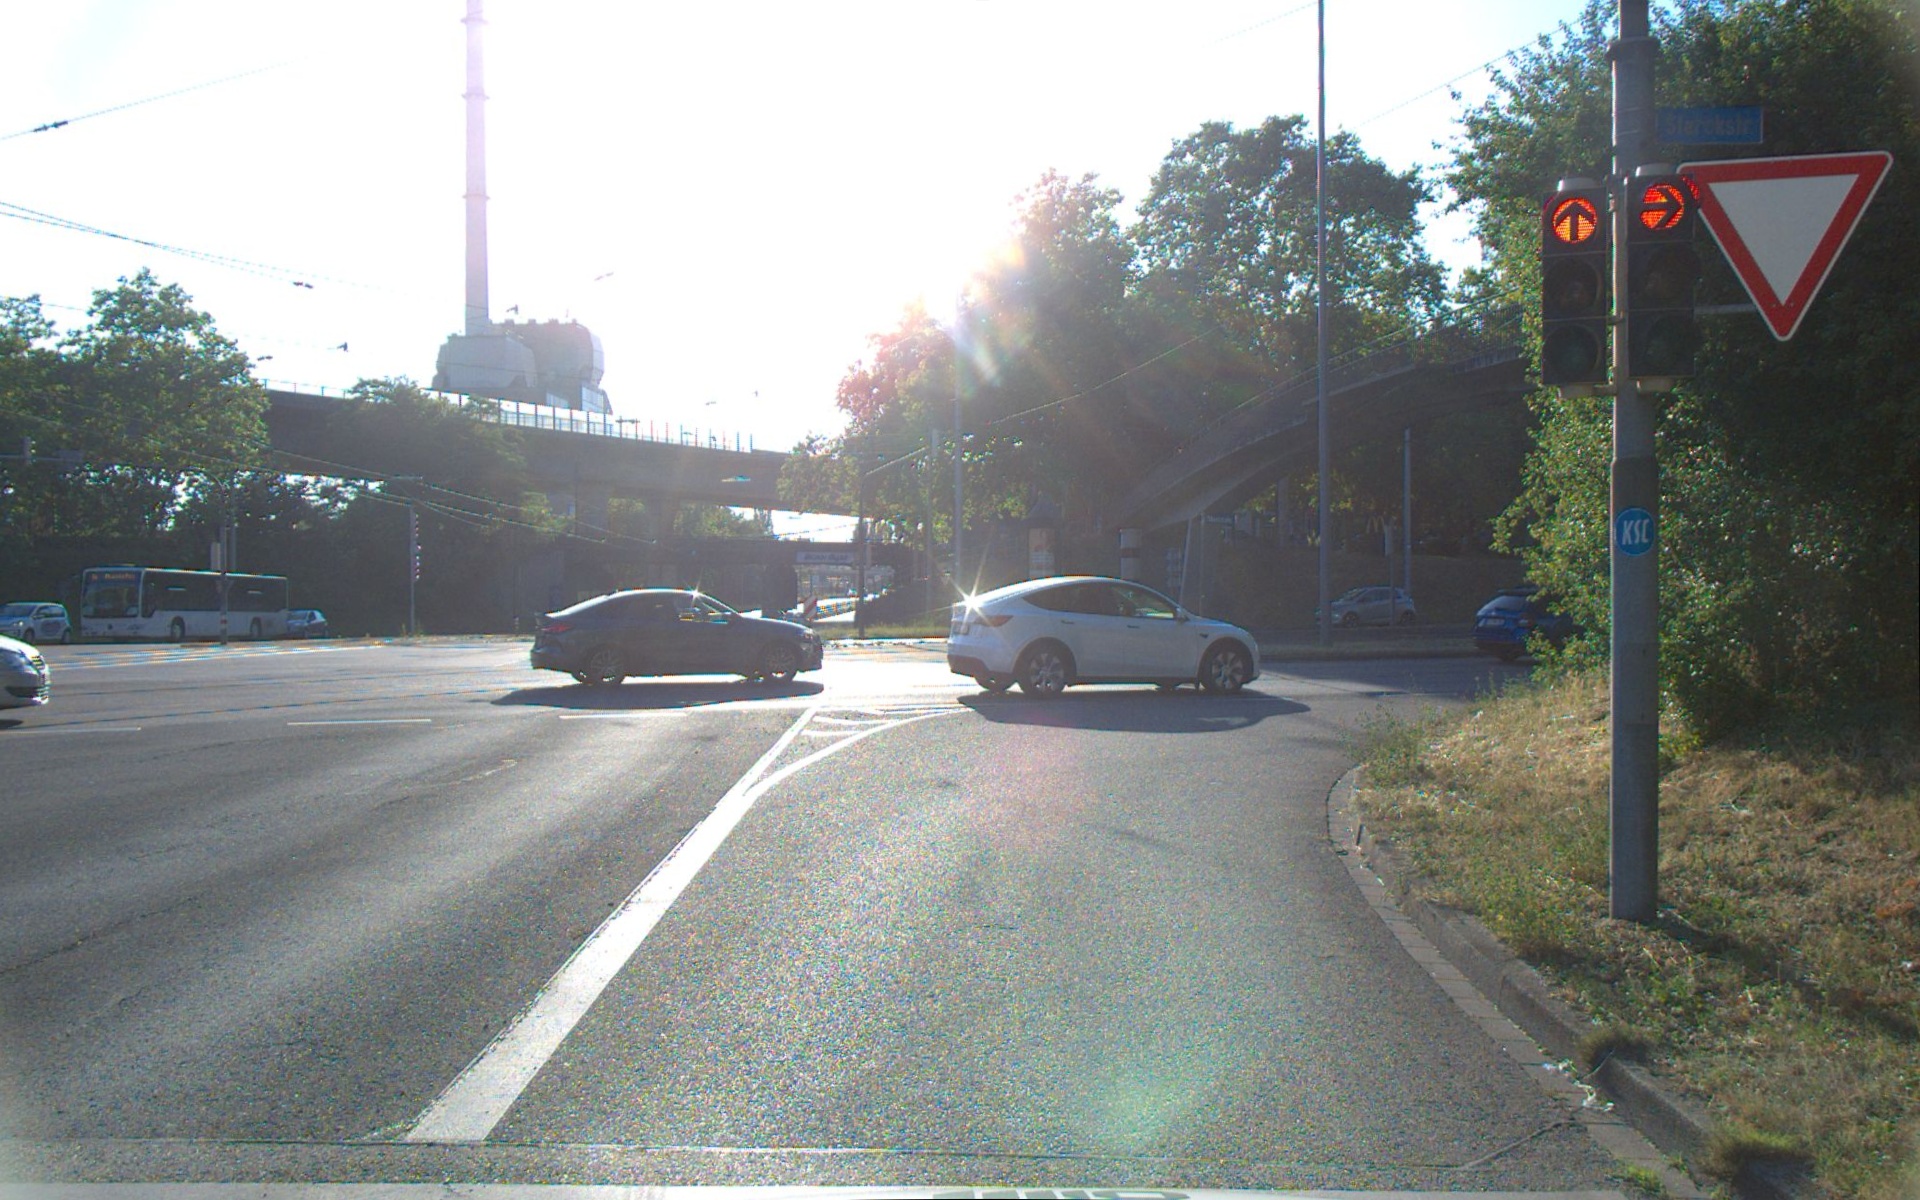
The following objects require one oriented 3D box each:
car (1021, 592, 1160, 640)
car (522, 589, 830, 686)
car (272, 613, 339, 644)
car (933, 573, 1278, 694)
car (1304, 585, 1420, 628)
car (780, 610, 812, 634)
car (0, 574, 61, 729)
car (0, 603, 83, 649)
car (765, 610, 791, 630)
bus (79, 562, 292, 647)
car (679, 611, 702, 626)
[{"bbox_3d":[4.520,0.552,57.274,4.505,1.602,1.685,1,0,-18],"label":"car"},{"bbox_3d":[-4.347,0.556,25.330,4.413,1.393,1.683,1,0,-21],"label":"car"},{"bbox_3d":[-31.700,1.372,80.244,1.573,1.444,4.008,1,0,1],"label":"car"},{"bbox_3d":[2.085,0.465,23.584,4.685,1.602,1.682,1,0,-22],"label":"car"},{"bbox_3d":[14.918,0.238,61.396,3.935,1.538,1.684,1,0,-20],"label":"car"},{"bbox_3d":[-10.259,1.362,103.440,1.631,1.429,4.196,1,0,-1],"label":"car"},{"bbox_3d":[-12.188,0.535,17.811,4.215,1.659,1.682,1,0,-23],"label":"car"},{"bbox_3d":[-32.162,0.874,57.290,1.574,1.538,4.006,1,0,-3],"label":"car"},{"bbox_3d":[-13.599,1.502,123.903,1.632,1.429,4.443,1,0,-2],"label":"car"},{"bbox_3d":[-32.052,0.309,69.332,2.491,3.185,12.919,-1,-1,2],"label":"bus"},{"bbox_3d":[-26.719,1.806,164.286,1.573,1.444,4.008,1,0,1],"label":"car"}]
